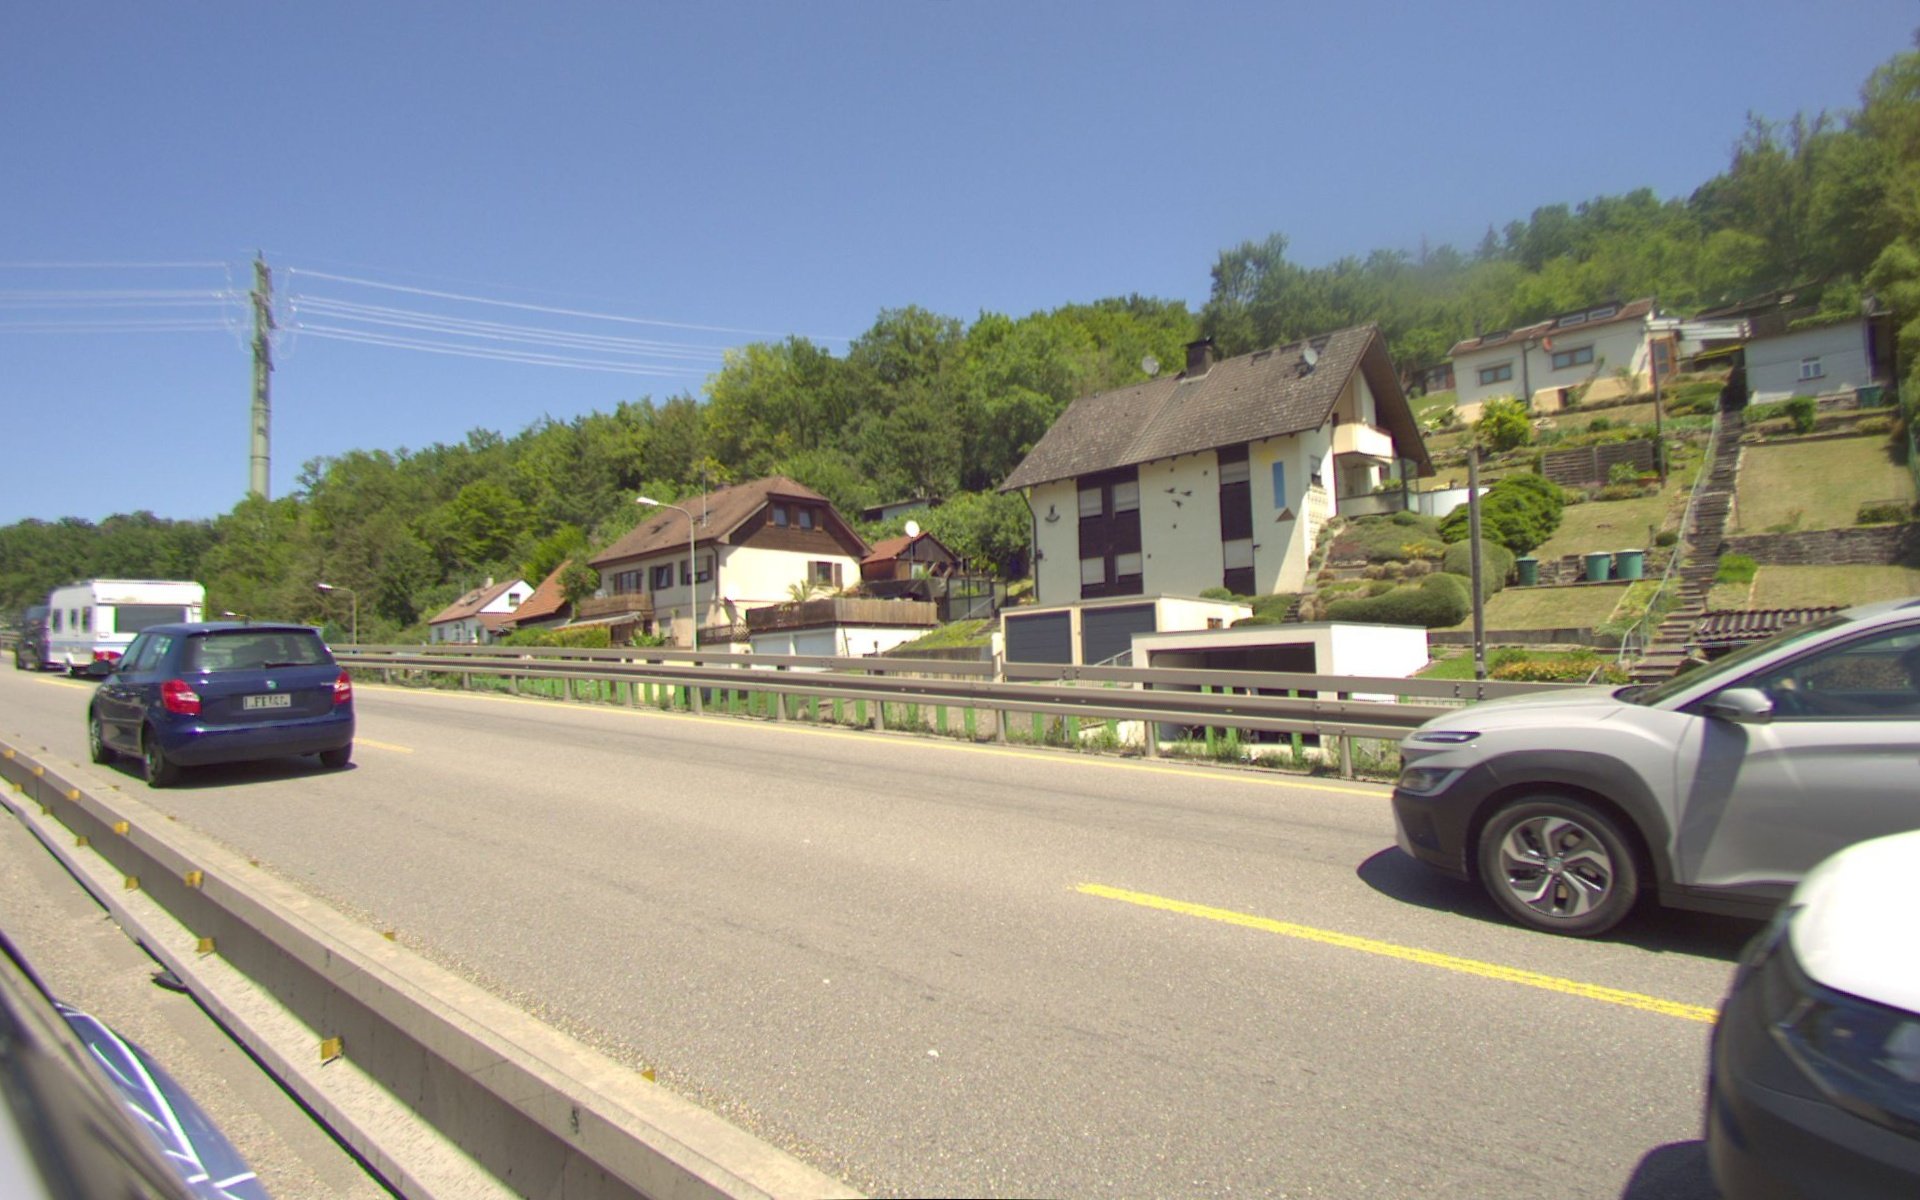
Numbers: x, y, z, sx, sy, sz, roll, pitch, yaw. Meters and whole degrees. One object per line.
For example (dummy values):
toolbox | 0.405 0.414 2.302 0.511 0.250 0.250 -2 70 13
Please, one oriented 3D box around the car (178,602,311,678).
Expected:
car | -20.747 1.098 29.270 4.976 2.029 1.973 -1 -1 40

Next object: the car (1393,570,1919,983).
car | 4.129 0.642 4.203 3.971 1.490 1.684 -1 -2 40

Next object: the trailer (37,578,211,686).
trailer | -22.735 0.816 27.413 6.237 2.608 2.573 -1 -1 40

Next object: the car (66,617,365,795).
car | -7.762 0.928 10.394 4.210 1.473 1.554 -1 -2 40

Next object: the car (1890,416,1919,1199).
car | 3.426 0.480 0.491 4.254 1.754 1.791 -1 -2 40
